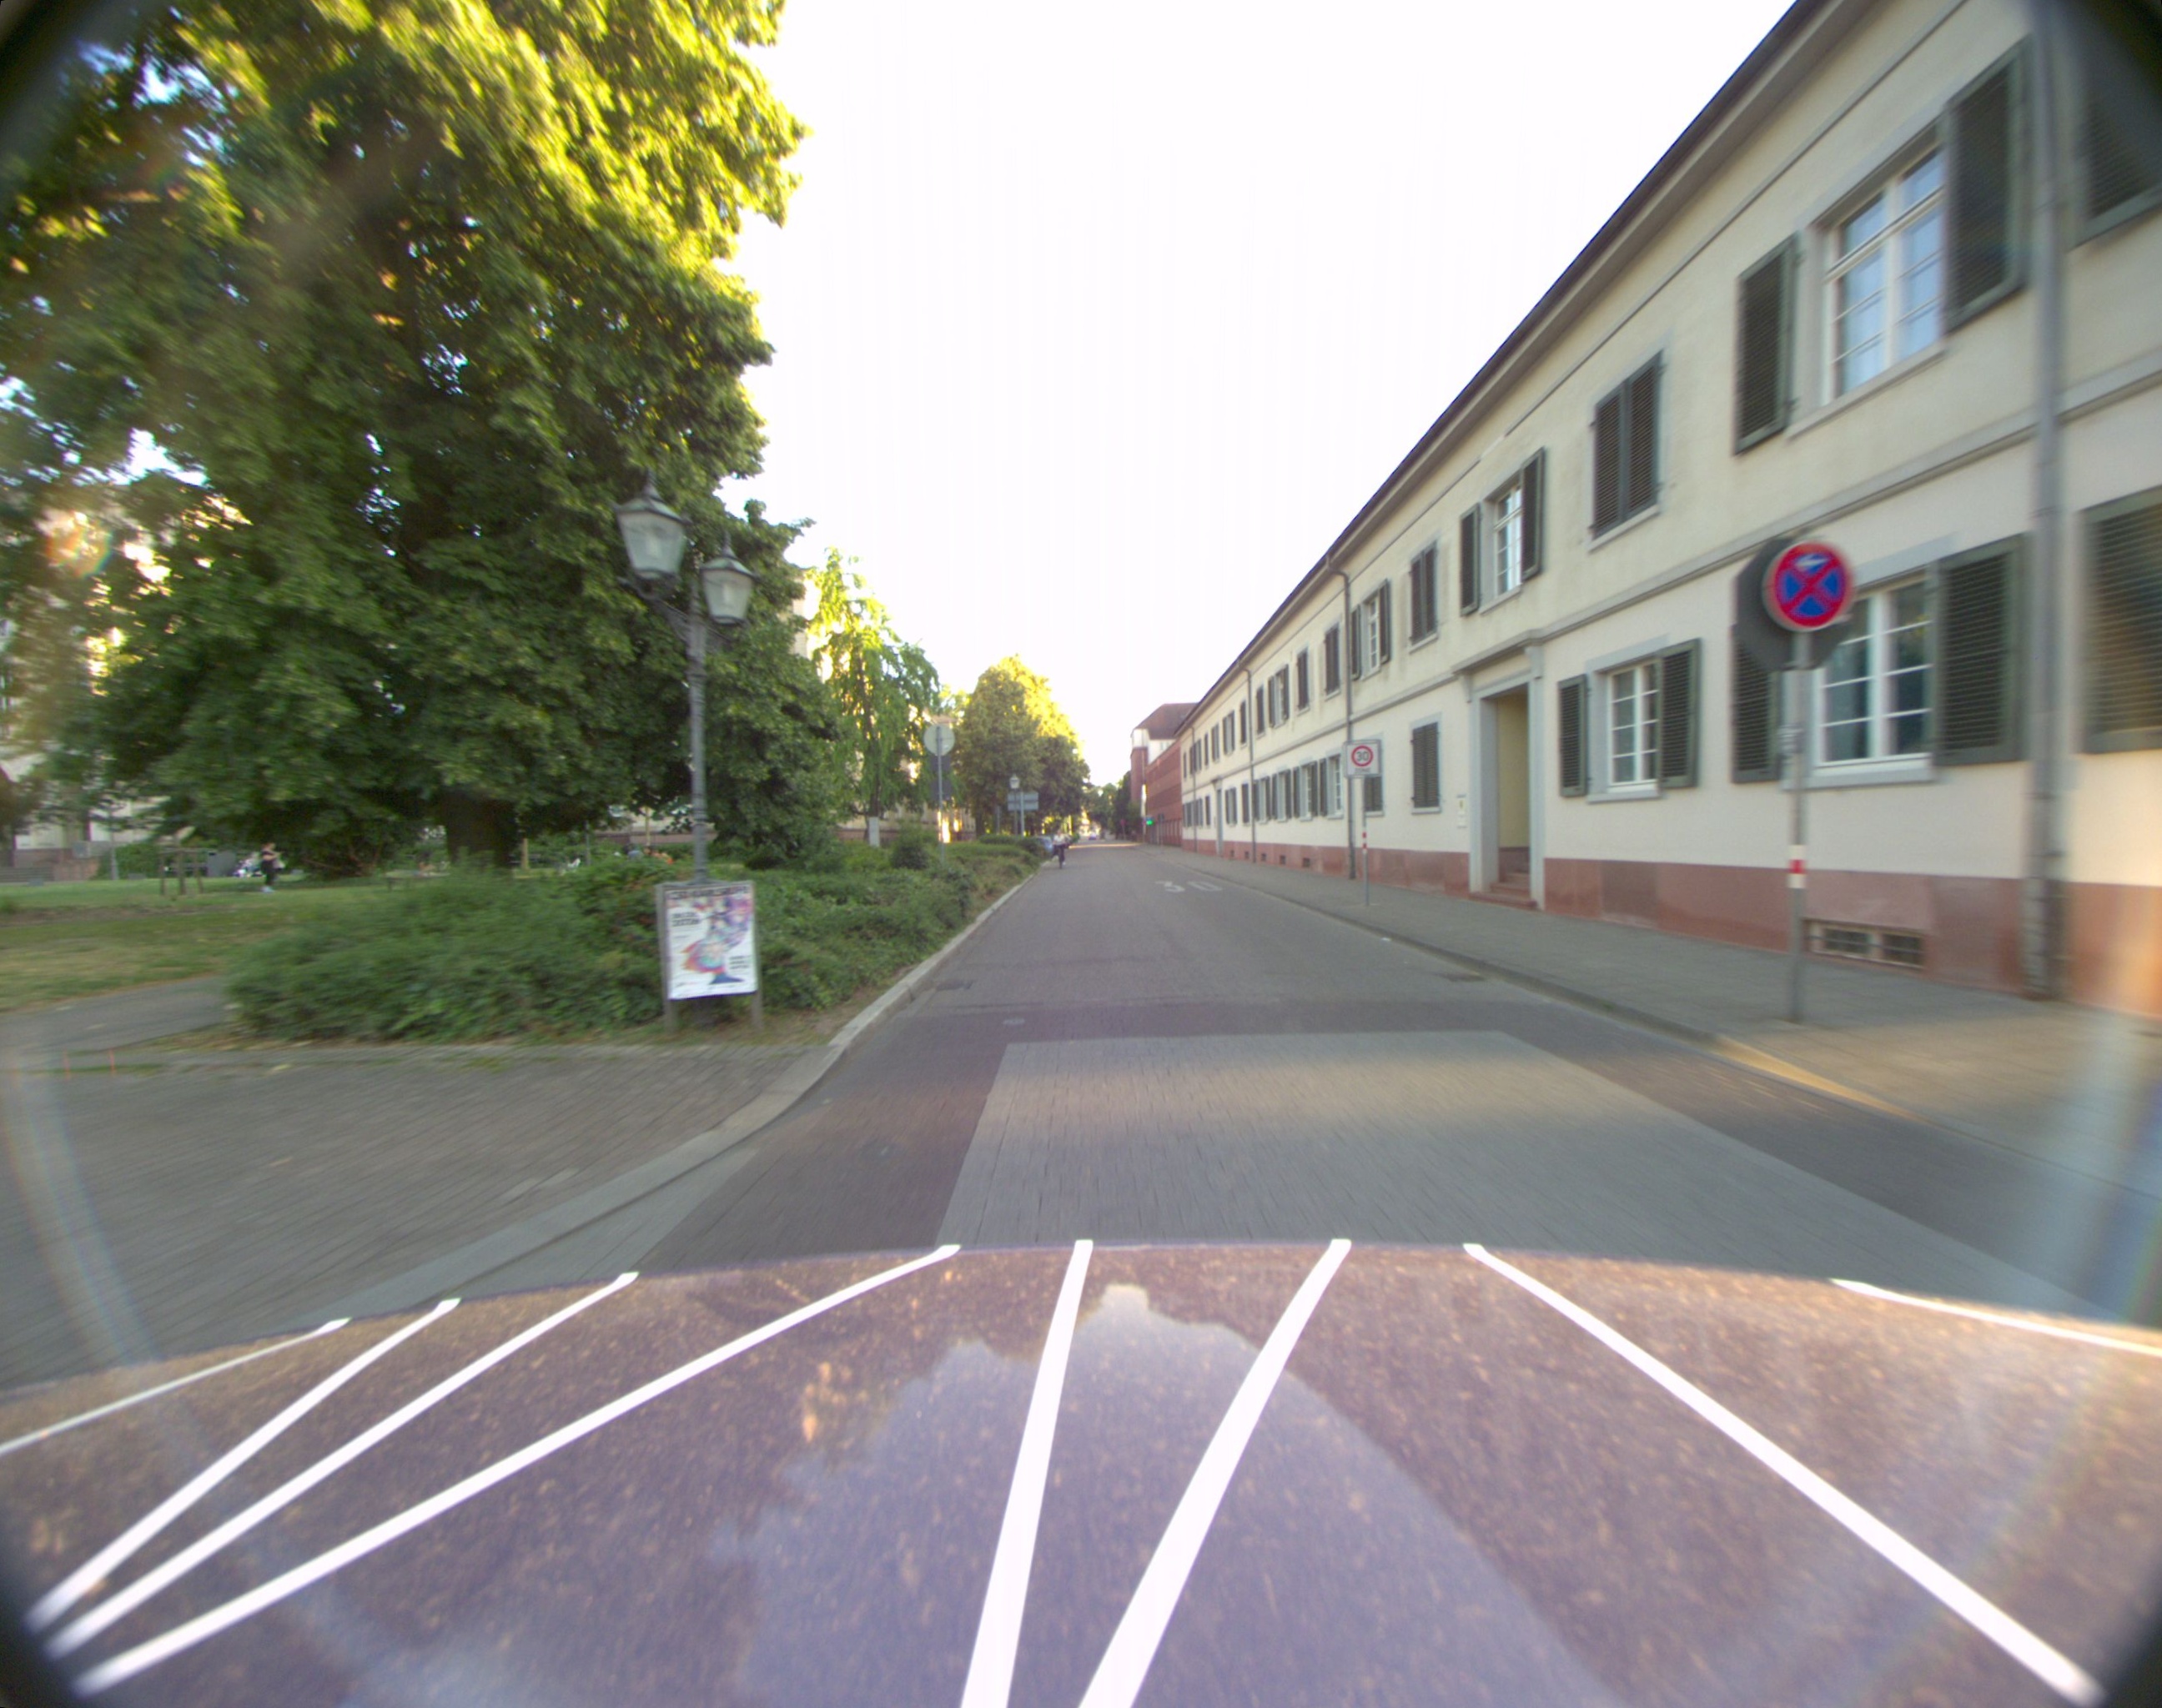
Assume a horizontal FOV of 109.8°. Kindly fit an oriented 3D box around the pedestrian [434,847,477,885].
[{"bbox_3d":[-33.916,0.635,41.203,1.395,2.002,0.982,-2,1,-2],"label":"pedestrian"}]

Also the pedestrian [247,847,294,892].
[{"bbox_3d":[-27.102,0.516,25.411,0.754,1.436,0.816,-3,3,-25],"label":"pedestrian"}]

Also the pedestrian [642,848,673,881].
[{"bbox_3d":[-13.938,0.334,24.999,0.798,1.045,0.394,-3,3,-35],"label":"pedestrian"}]

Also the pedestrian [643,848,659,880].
[{"bbox_3d":[-14.453,0.313,25.535,0.396,1.045,0.602,-3,3,-30],"label":"pedestrian"}]

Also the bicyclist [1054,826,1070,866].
[{"bbox_3d":[-0.871,-0.366,34.961,0.672,1.793,1.059,-2,2,-2],"label":"bicyclist"}]

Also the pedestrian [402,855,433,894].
[{"bbox_3d":[-19.485,0.597,22.320,0.605,1.103,0.394,-4,3,-45],"label":"pedestrian"}]

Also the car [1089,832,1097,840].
[{"bbox_3d":[3.105,-4.707,199.637,1.998,2.002,3.999,-2,1,1],"label":"car"}]

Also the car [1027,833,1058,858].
[{"bbox_3d":[-2.651,-0.608,52.570,1.815,1.585,3.999,-2,1,1],"label":"car"}]

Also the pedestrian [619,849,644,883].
[{"bbox_3d":[-14.251,0.360,24.107,0.605,1.045,0.394,-3,3,-36],"label":"pedestrian"}]

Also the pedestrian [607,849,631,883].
[{"bbox_3d":[-14.846,0.380,24.434,0.605,1.045,0.394,-3,3,-33],"label":"pedestrian"}]

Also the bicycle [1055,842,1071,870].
[{"bbox_3d":[-0.826,0.062,35.083,0.653,1.175,2.343,-2,2,-2],"label":"bicycle"}]

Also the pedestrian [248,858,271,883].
[{"bbox_3d":[-44.163,0.896,40.844,0.500,1.281,0.592,-2,2,-5],"label":"pedestrian"}]

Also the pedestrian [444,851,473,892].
[{"bbox_3d":[-18.683,0.514,22.806,0.605,1.195,0.394,-4,3,-40],"label":"pedestrian"}]
